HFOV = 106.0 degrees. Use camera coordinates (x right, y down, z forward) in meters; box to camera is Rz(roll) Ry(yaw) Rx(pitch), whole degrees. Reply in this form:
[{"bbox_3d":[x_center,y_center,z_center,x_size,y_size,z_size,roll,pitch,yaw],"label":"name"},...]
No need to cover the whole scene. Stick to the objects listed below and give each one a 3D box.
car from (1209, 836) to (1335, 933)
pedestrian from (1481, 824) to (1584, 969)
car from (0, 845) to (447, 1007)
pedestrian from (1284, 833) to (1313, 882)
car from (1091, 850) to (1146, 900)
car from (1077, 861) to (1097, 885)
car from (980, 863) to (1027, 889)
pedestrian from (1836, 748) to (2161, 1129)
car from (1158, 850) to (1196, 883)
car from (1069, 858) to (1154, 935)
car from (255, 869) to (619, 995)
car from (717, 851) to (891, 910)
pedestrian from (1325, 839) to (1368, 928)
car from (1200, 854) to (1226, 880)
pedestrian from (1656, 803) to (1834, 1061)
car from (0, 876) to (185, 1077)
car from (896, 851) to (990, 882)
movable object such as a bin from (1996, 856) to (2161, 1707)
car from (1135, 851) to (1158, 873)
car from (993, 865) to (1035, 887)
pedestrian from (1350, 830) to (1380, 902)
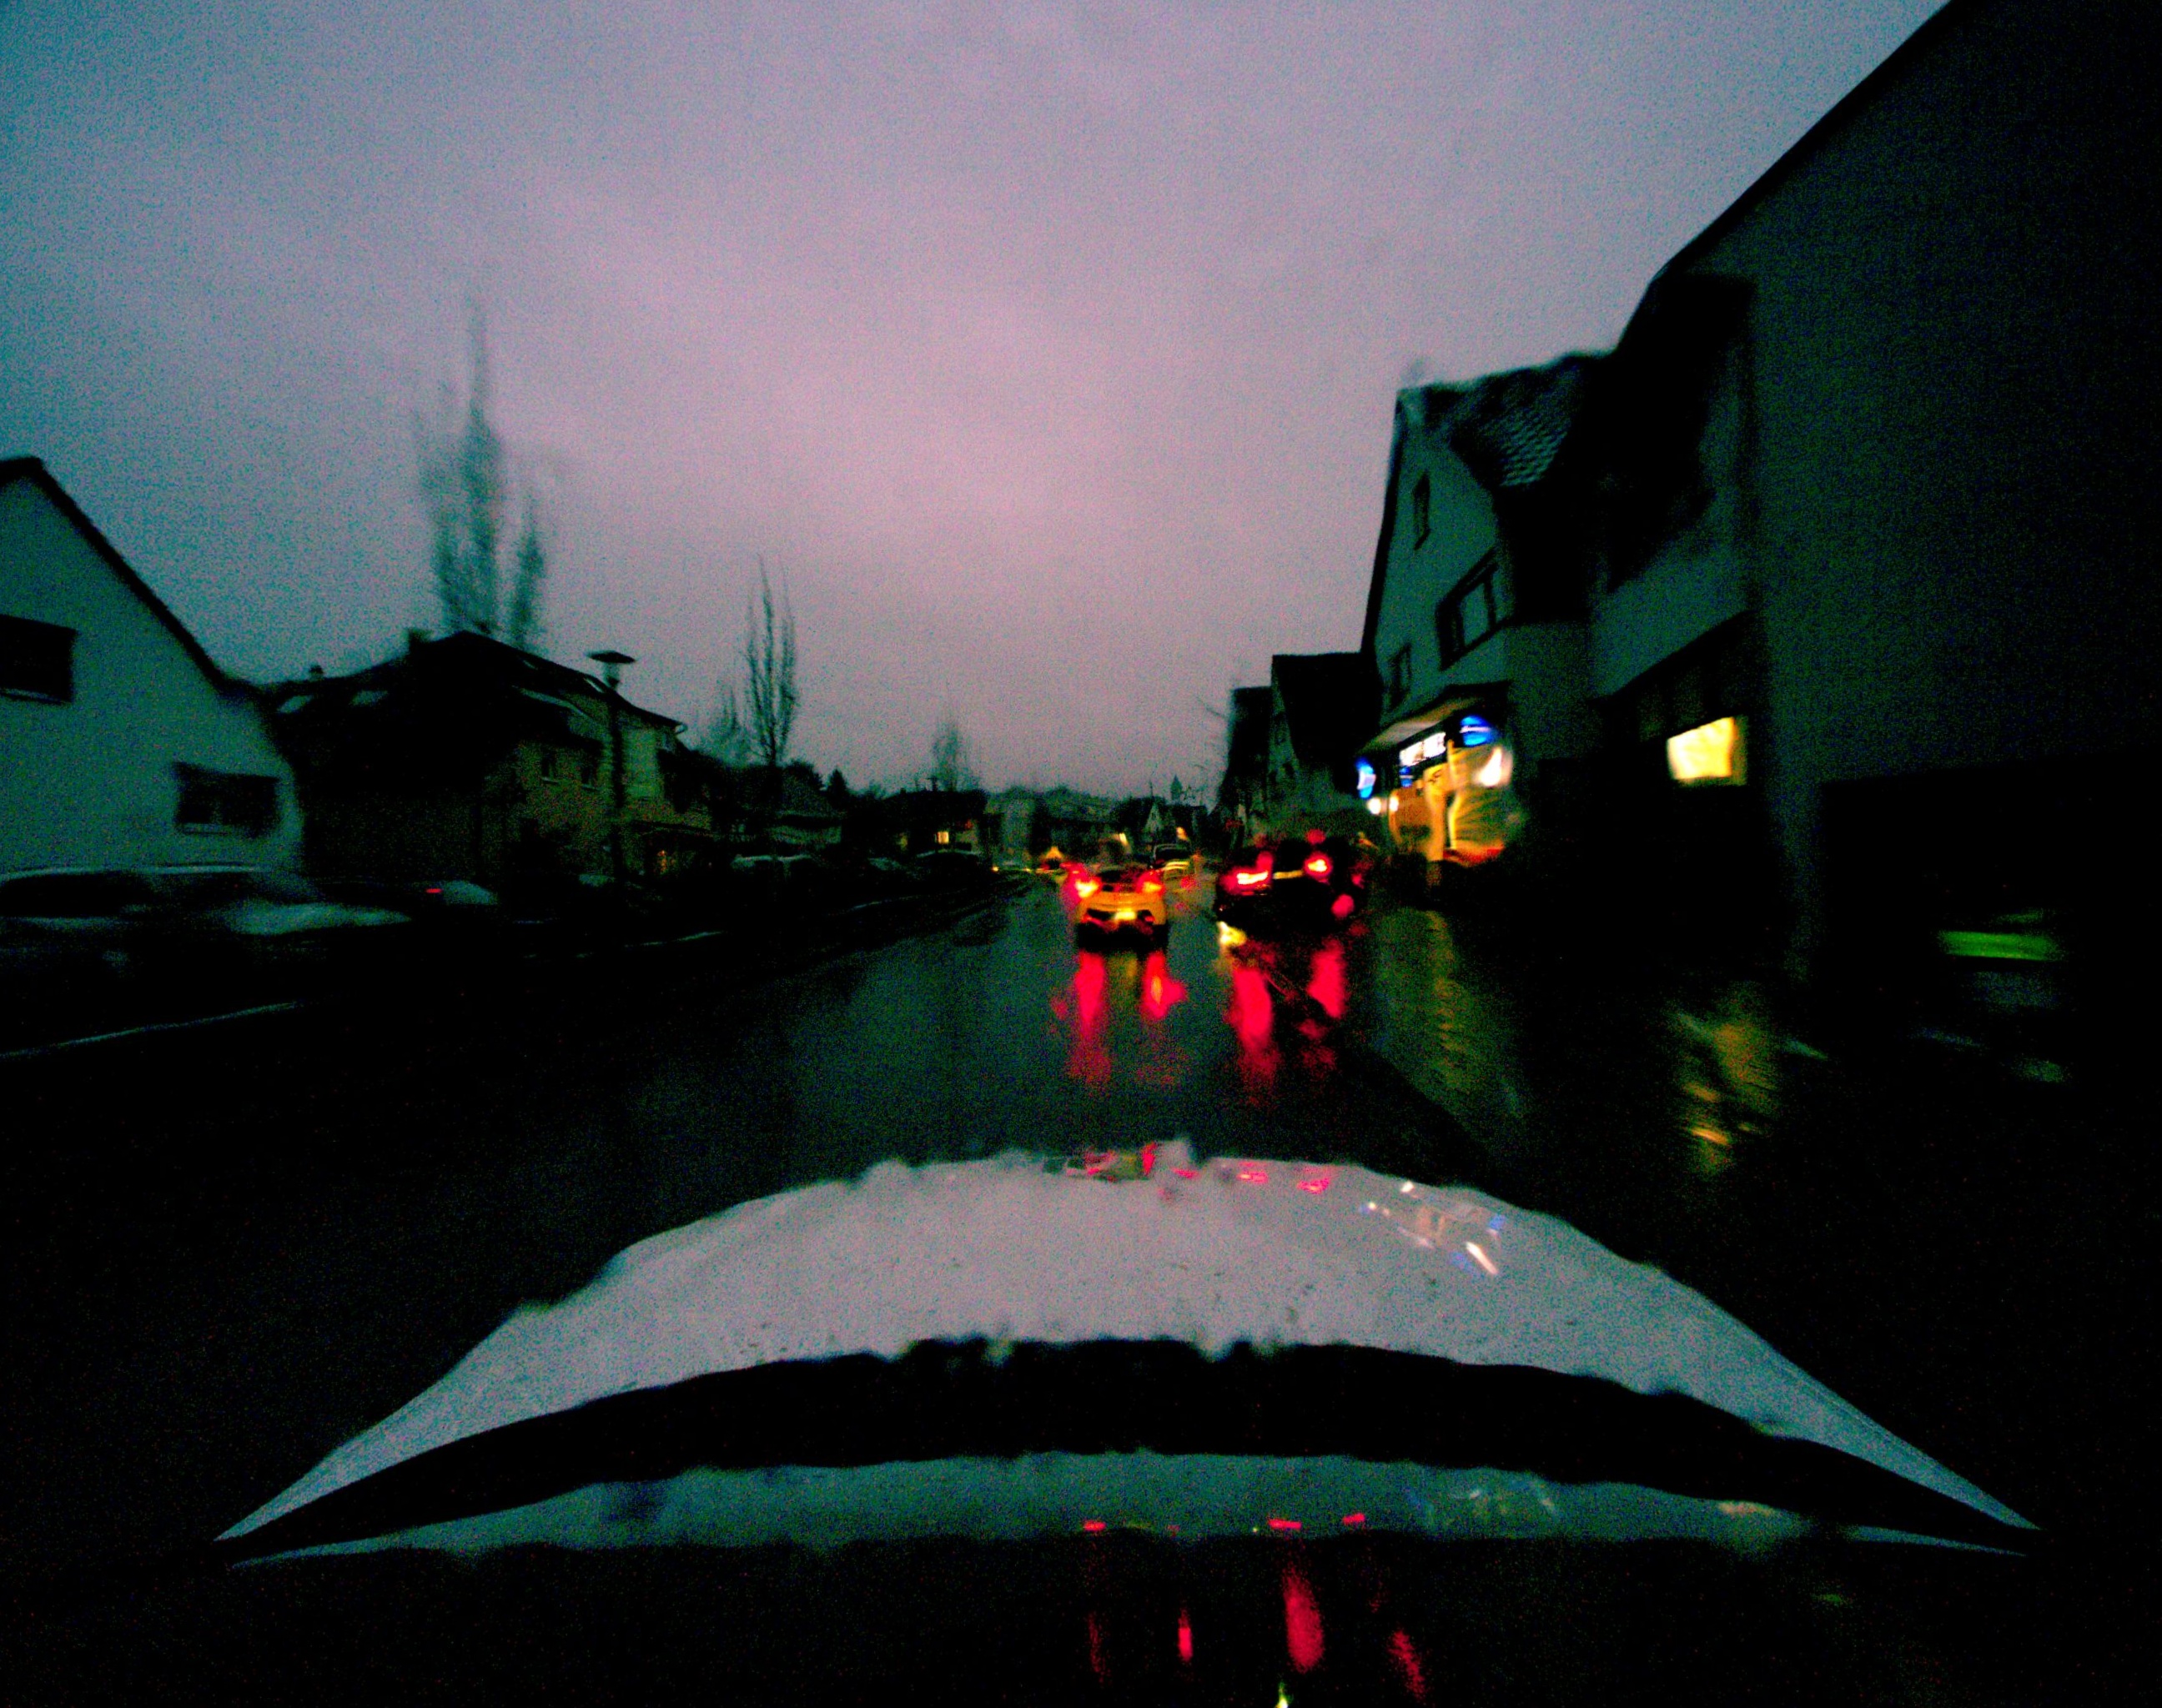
[{"bbox_3d":[3.799,0.573,16.962,1.728,1.692,4.389,-2,-1,2],"label":"car"},{"bbox_3d":[5.339,0.471,9.682,0.618,1.626,0.903,-2,1,-10],"label":"pedestrian"},{"bbox_3d":[-9.292,0.731,8.797,3.770,1.523,1.719,-1,-1,9],"label":"car"},{"bbox_3d":[6.916,0.090,25.895,0.618,1.515,0.731,-2,1,-10],"label":"pedestrian"},{"bbox_3d":[1.358,0.698,28.577,1.758,1.628,3.591,0,0,5],"label":"car"},{"bbox_3d":[0.625,1.893,79.904,1.912,2.216,3.975,0,-3,1],"label":"car"},{"bbox_3d":[-6.953,2.016,72.812,2.011,2.252,4.332,2,-4,-43],"label":"car"},{"bbox_3d":[4.720,0.388,4.238,0.707,1.715,1.039,-3,0,17],"label":"pedestrian"},{"bbox_3d":[5.726,0.759,48.850,1.989,1.865,4.086,-1,-1,4],"label":"car"},{"bbox_3d":[0.654,0.785,16.542,1.556,1.412,3.020,0,0,3],"label":"car"},{"bbox_3d":[-9.007,1.054,11.558,4.072,1.608,1.590,-1,-1,6],"label":"car"},{"bbox_3d":[-8.438,0.805,25.108,4.609,1.667,2.000,-1,-1,0],"label":"car"},{"bbox_3d":[5.263,0.579,16.172,0.570,1.699,0.654,-4,-1,4],"label":"pedestrian"},{"bbox_3d":[11.886,1.184,73.504,1.984,2.249,4.004,-1,-3,5],"label":"car"},{"bbox_3d":[4.581,0.496,5.691,0.476,1.630,1.022,-3,0,11],"label":"pedestrian"},{"bbox_3d":[-9.288,0.916,6.088,3.431,1.372,1.602,-1,0,2],"label":"car"},{"bbox_3d":[-8.329,0.717,49.077,5.355,1.817,1.719,0,-1,16],"label":"car"},{"bbox_3d":[2.181,0.693,0.699,1.123,1.420,1.419,-5,0,5],"label":"movable object such as a bin"},{"bbox_3d":[6.260,0.792,77.864,1.986,2.014,4.002,-1,-1,2],"label":"car"},{"bbox_3d":[-6.298,2.044,76.315,1.832,1.976,4.118,2,-4,-43],"label":"car"},{"bbox_3d":[6.924,0.291,19.860,0.613,1.727,0.503,-1,-3,15],"label":"pedestrian"}]
